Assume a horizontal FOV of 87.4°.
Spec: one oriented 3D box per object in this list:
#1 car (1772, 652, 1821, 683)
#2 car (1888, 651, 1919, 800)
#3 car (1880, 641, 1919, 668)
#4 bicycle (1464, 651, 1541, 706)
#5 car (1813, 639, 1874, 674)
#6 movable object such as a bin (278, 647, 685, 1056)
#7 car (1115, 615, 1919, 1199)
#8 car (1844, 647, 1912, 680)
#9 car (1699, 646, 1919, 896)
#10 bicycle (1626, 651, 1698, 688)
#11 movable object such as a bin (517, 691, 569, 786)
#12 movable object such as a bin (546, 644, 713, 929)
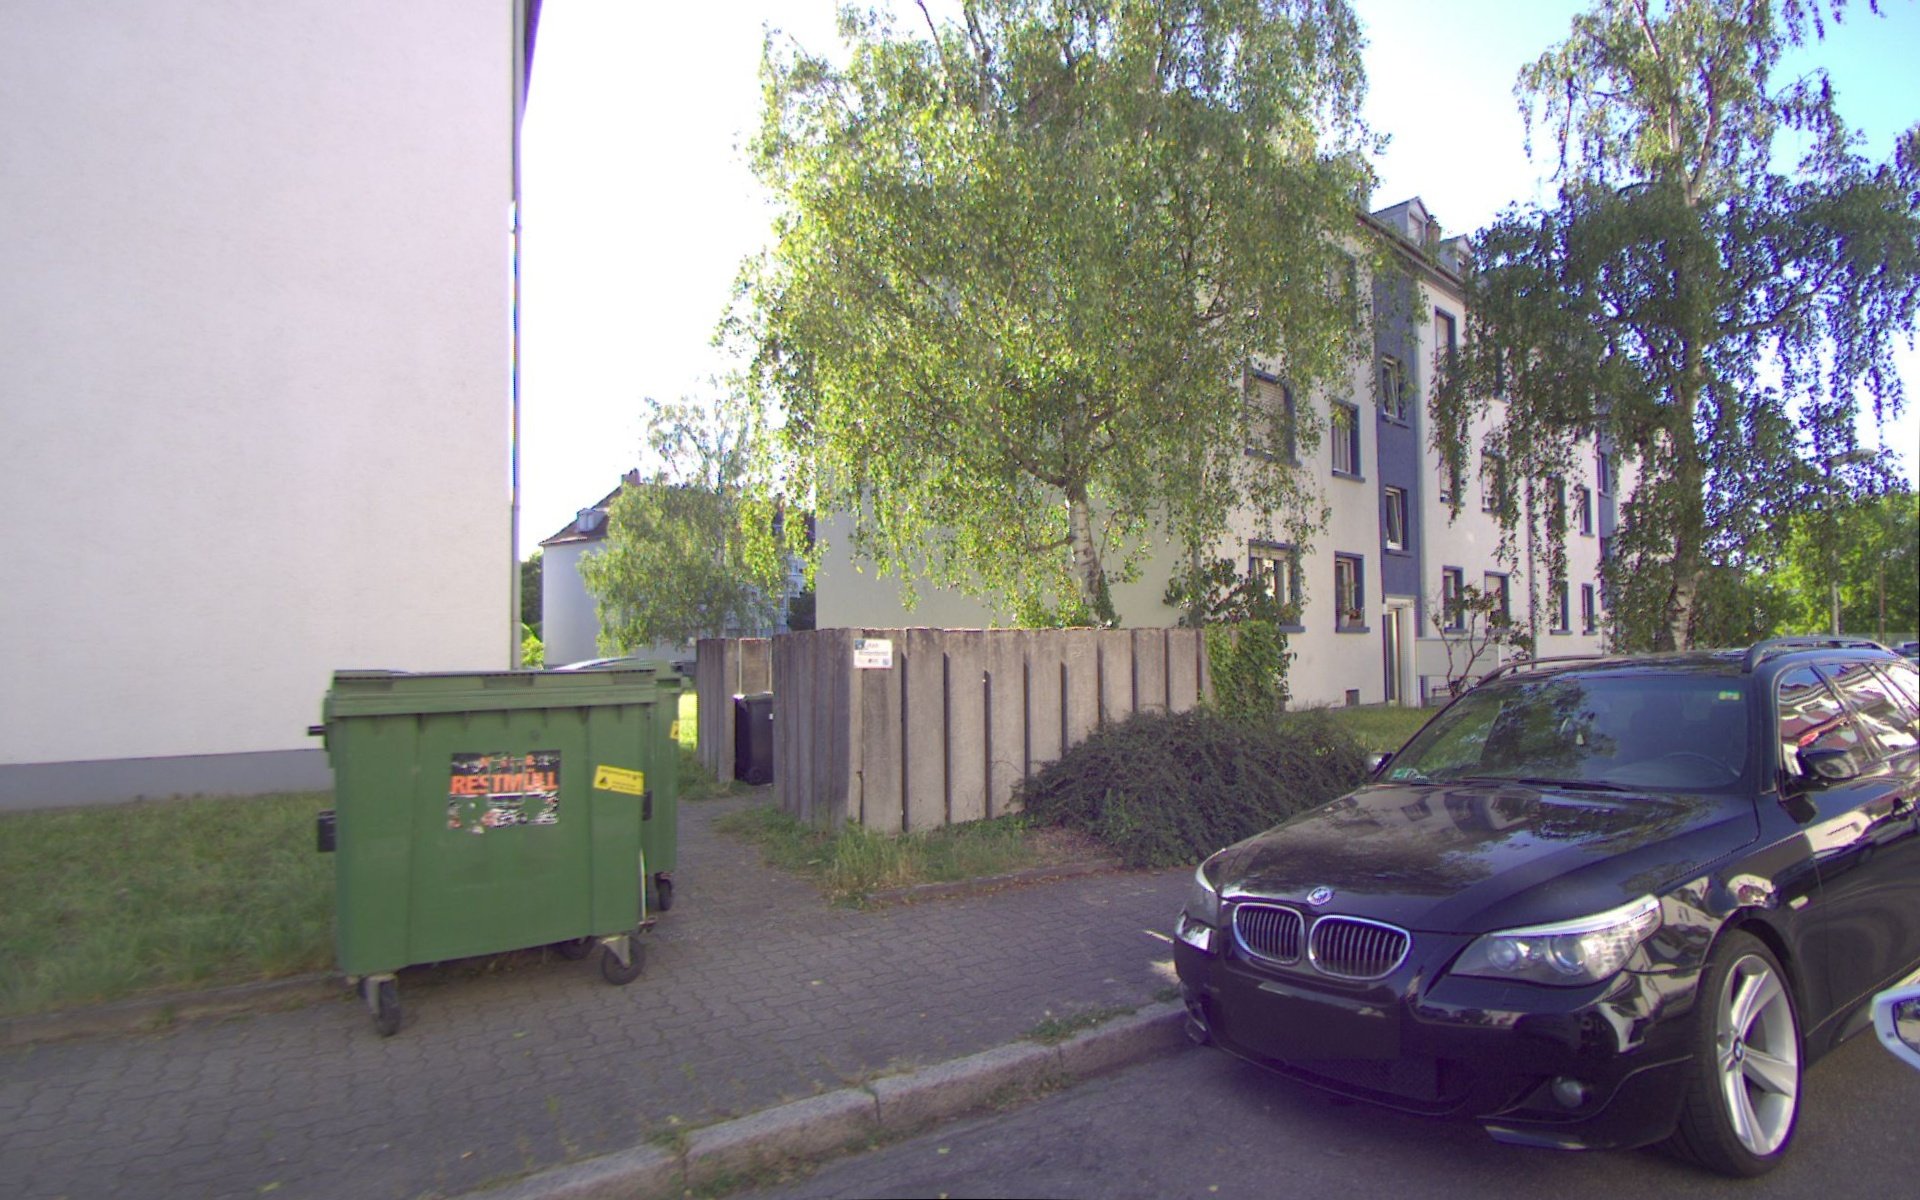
[{"bbox_3d":[57.788,4.636,69.472,1.966,2.039,4.443,-4,-5,32],"label":"car"},{"bbox_3d":[11.335,1.234,10.549,3.931,1.460,1.545,2,-7,-37],"label":"car"},{"bbox_3d":[63.467,3.680,67.461,1.741,1.762,4.084,-4,-5,33],"label":"car"},{"bbox_3d":[11.864,1.721,21.994,0.413,1.167,1.395,3,-5,-45],"label":"bicycle"},{"bbox_3d":[49.634,3.213,56.506,1.870,1.879,4.185,-2,-5,33],"label":"car"},{"bbox_3d":[-1.949,0.910,4.199,1.400,1.411,0.772,1,-3,-30],"label":"movable object such as a bin"},{"bbox_3d":[2.964,0.906,4.304,4.571,1.471,1.669,2,-6,-33],"label":"car"},{"bbox_3d":[43.871,3.030,48.080,1.636,1.462,3.862,-4,-5,32],"label":"car"},{"bbox_3d":[7.221,1.093,7.358,4.240,1.460,1.667,2,-7,-37],"label":"car"},{"bbox_3d":[22.454,2.209,32.147,0.563,1.092,1.806,2,-1,-37],"label":"bicycle"},{"bbox_3d":[-4.439,1.455,10.676,0.476,0.944,0.551,1,-2,-25],"label":"movable object such as a bin"},{"bbox_3d":[-1.901,0.950,5.690,0.757,1.398,1.216,1,-2,-25],"label":"movable object such as a bin"}]
